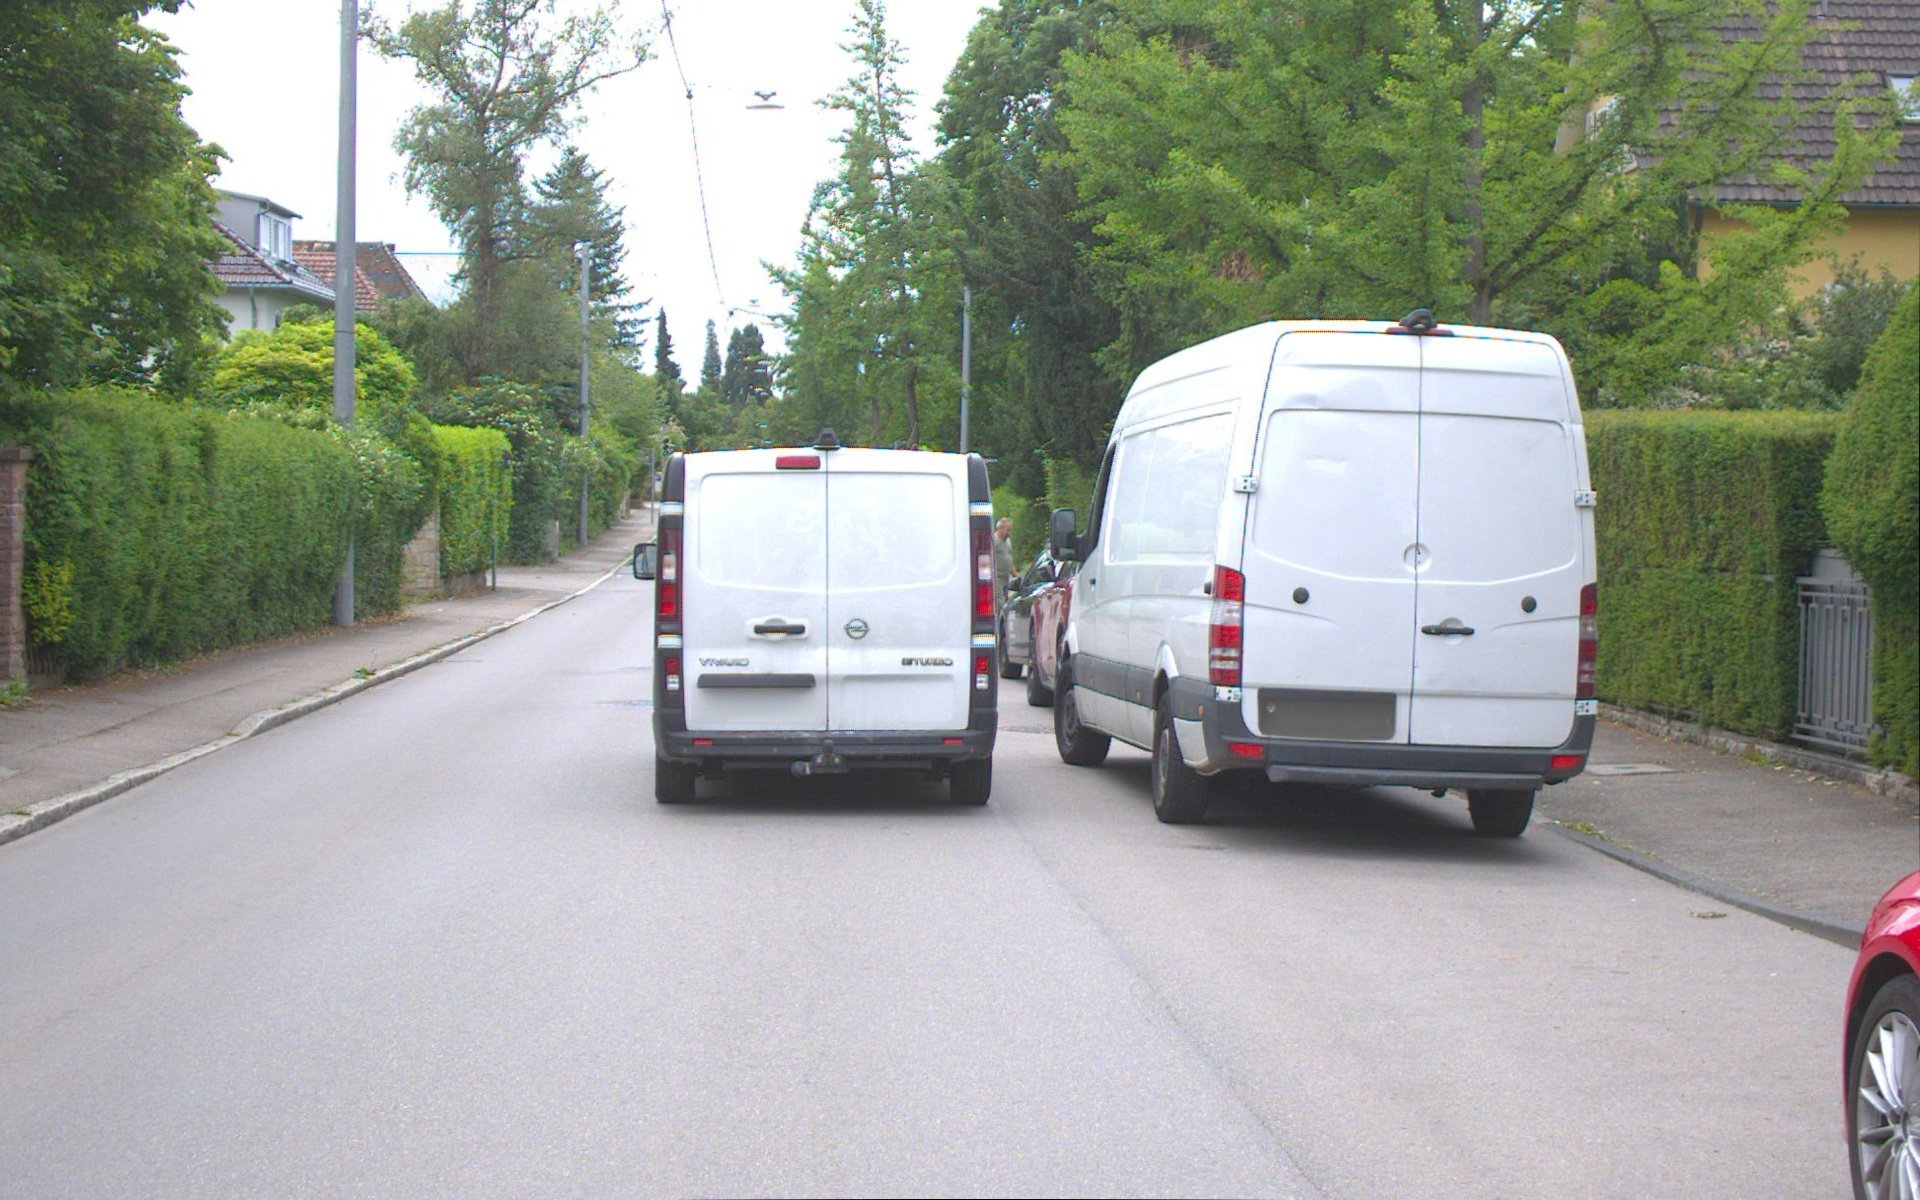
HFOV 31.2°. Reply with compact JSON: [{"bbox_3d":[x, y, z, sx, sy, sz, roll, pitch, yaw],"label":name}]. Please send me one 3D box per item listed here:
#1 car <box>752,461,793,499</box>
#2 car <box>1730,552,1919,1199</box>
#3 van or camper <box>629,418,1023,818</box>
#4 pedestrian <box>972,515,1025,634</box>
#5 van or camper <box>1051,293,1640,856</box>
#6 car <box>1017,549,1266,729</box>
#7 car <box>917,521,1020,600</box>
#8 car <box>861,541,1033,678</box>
[{"bbox_3d":[-8.624,-5.533,158.191,1.775,1.645,3.645,0,3,-5],"label":"car"},{"bbox_3d":[2.847,0.698,5.857,1.712,1.462,4.269,1,2,-6],"label":"car"},{"bbox_3d":[-0.920,-0.024,20.233,1.924,2.006,4.831,1,3,-7],"label":"van or camper"},{"bbox_3d":[0.507,-0.342,45.451,0.555,1.554,0.553,0,3,-16],"label":"pedestrian"},{"bbox_3d":[1.946,-0.194,19.723,2.066,2.665,6.330,1,1,-5],"label":"van or camper"},{"bbox_3d":[1.429,0.271,28.444,1.530,1.300,4.032,1,2,-4],"label":"car"},{"bbox_3d":[0.130,-0.704,60.340,1.530,1.300,3.228,1,2,-4],"label":"car"},{"bbox_3d":[-0.189,0.063,36.634,1.530,1.300,4.032,1,2,-4],"label":"car"}]
